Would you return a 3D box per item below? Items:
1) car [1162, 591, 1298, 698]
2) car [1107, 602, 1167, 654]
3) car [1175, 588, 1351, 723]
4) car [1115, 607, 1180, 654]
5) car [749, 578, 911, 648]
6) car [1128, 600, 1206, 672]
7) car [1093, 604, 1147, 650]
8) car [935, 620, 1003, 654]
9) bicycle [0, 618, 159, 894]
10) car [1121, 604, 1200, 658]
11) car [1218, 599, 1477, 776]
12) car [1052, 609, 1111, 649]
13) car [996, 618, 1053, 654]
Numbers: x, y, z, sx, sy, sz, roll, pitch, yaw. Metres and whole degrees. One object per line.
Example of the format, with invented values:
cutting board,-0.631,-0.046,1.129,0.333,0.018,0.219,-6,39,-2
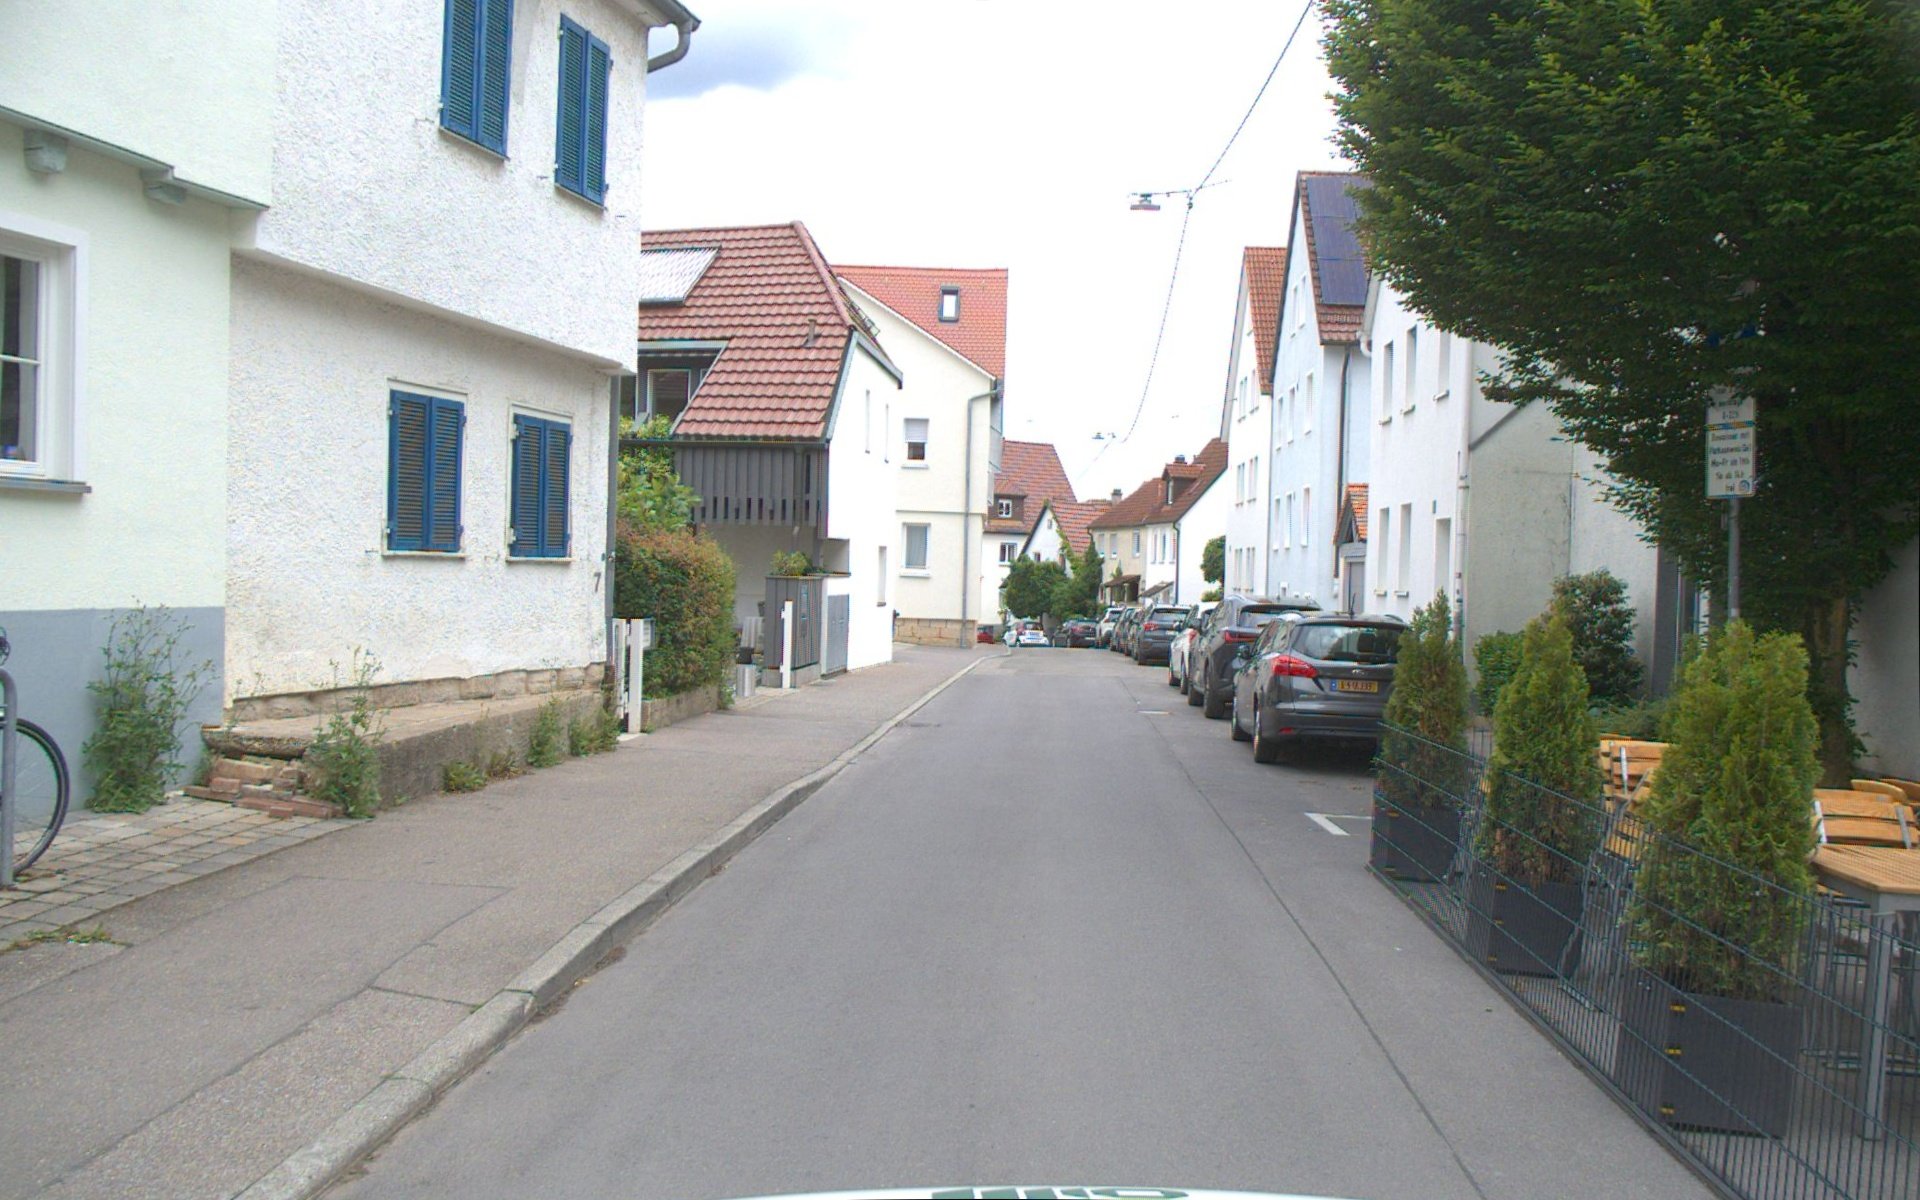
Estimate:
car,4.699,0.712,29.407,1.952,1.643,4.881,3,0,5
car,6.153,0.974,57.845,1.700,1.638,4.000,4,-1,2
car,4.204,0.715,23.655,1.824,1.662,4.903,2,0,3
car,5.931,0.989,52.627,1.759,1.376,4.076,2,-1,3
car,-3.281,0.351,42.160,3.652,1.436,2.122,5,-1,8
car,5.258,0.880,42.367,1.717,1.656,4.537,3,0,5
car,6.536,1.114,67.872,1.834,1.743,4.147,2,-1,0
car,0.488,2.107,93.371,1.974,1.713,3.957,-4,-1,-31
bicycle,-4.119,0.636,6.416,0.433,1.056,2.093,6,2,17
car,5.682,0.862,47.289,1.878,1.434,4.657,0,-1,3
car,3.917,0.797,17.559,1.907,1.534,4.823,2,0,4
car,5.745,1.399,78.691,1.956,1.743,3.991,1,-3,-8
car,3.388,1.887,87.792,1.929,1.743,3.985,2,0,-14
